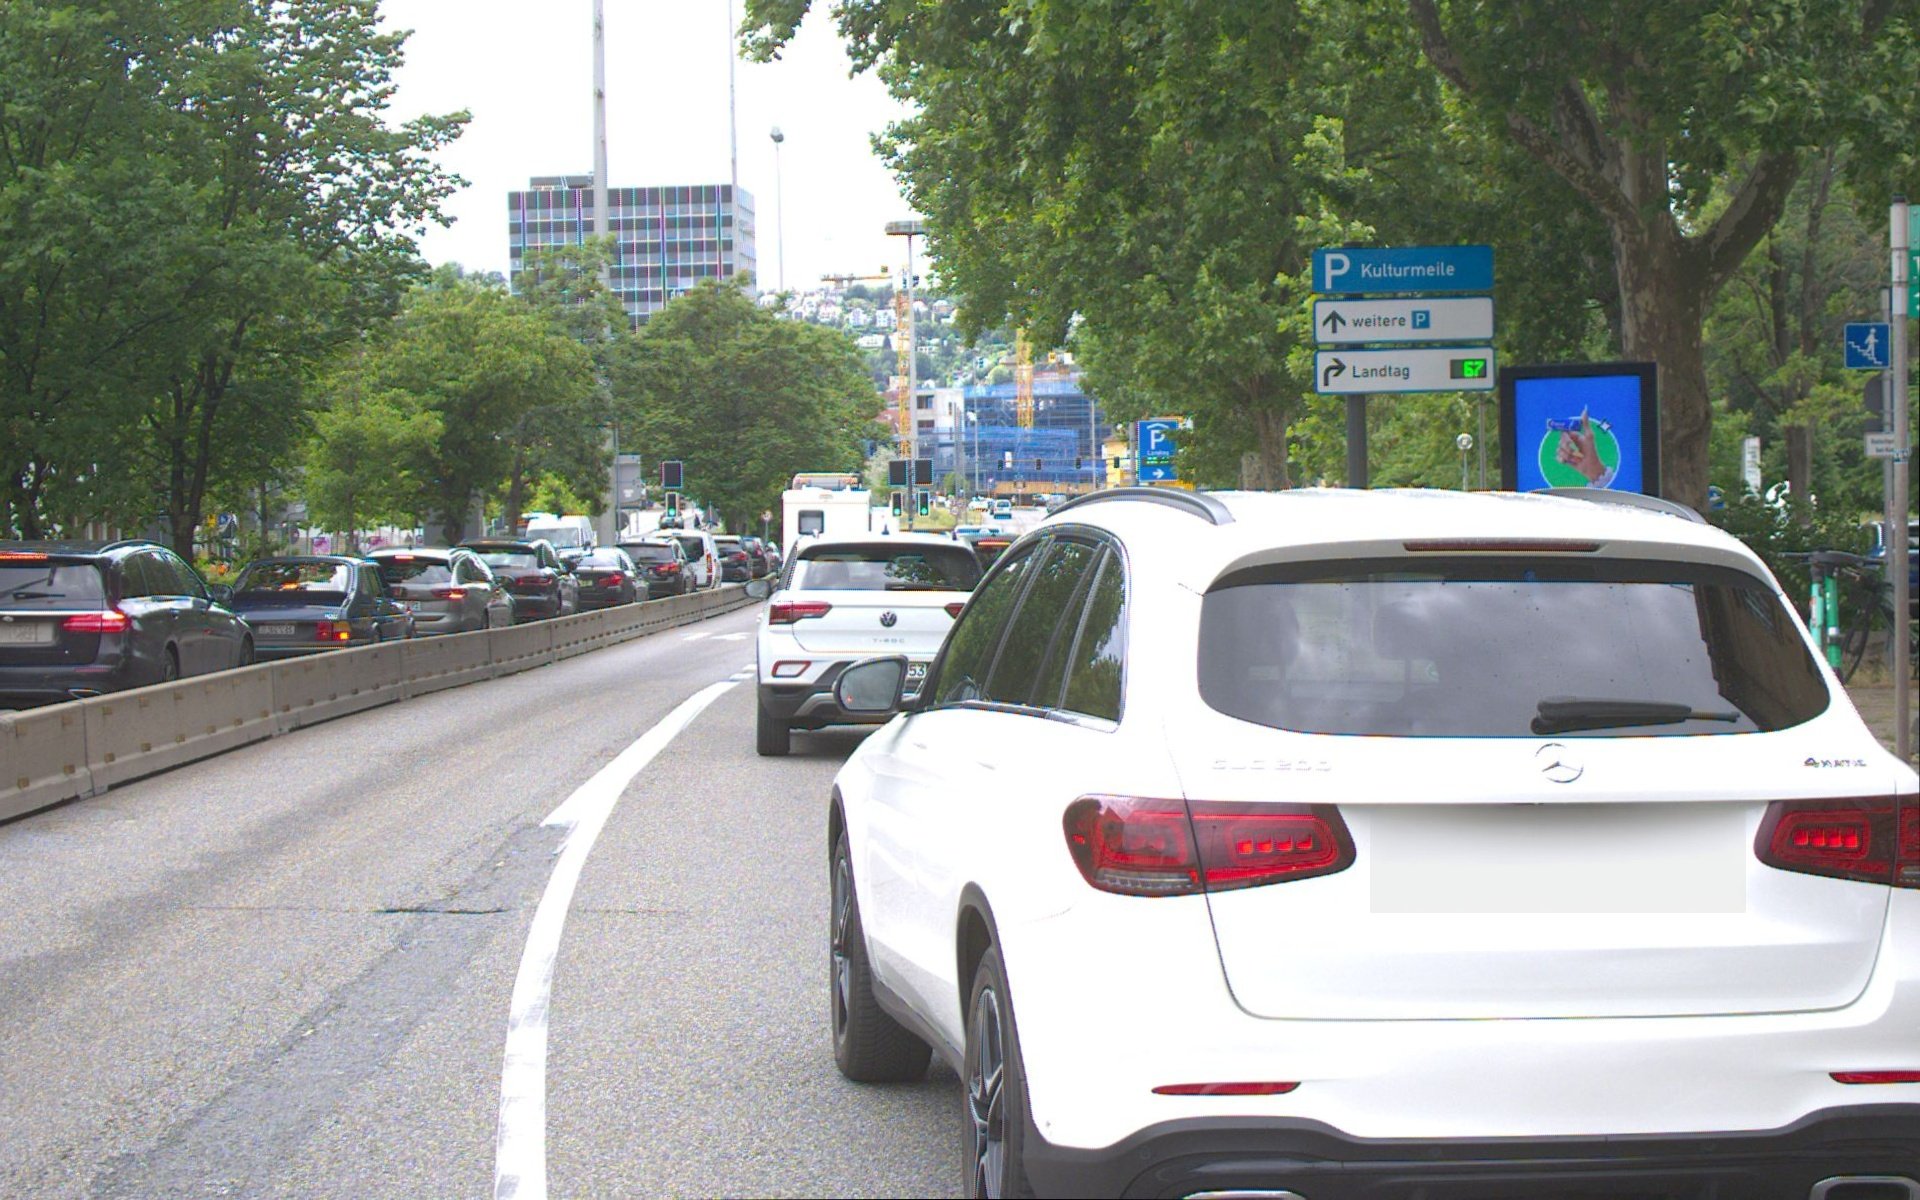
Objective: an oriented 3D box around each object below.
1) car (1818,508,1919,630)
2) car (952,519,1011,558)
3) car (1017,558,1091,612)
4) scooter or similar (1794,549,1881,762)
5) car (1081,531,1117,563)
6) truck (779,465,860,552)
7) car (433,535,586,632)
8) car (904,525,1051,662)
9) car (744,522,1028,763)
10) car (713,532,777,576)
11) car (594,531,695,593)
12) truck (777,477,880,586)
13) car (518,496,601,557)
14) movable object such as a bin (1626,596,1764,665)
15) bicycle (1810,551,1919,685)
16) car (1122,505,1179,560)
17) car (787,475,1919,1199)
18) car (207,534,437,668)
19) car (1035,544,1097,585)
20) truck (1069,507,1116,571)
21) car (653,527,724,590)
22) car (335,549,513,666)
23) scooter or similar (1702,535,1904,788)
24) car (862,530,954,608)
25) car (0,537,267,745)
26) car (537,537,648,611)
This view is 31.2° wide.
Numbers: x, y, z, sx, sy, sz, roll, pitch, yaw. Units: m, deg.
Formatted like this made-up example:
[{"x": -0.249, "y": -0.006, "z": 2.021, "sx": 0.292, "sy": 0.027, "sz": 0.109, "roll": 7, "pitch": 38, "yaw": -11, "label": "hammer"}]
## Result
[{"x": 13.191, "y": -0.460, "z": 47.455, "sx": 1.760, "sy": 1.546, "sz": 4.027, "roll": -1, "pitch": 2, "yaw": 1, "label": "car"}, {"x": 0.758, "y": -2.124, "z": 118.788, "sx": 1.947, "sy": 1.315, "sz": 4.016, "roll": 0, "pitch": 1, "yaw": 1, "label": "car"}, {"x": 2.519, "y": -0.412, "z": 92.575, "sx": 1.947, "sy": 1.423, "sz": 4.016, "roll": 0, "pitch": 1, "yaw": 1, "label": "car"}, {"x": 5.449, "y": 0.328, "z": 21.386, "sx": 0.431, "sy": 1.276, "sz": 1.433, "roll": 1, "pitch": 1, "yaw": 11, "label": "scooter or similar"}, {"x": 7.263, "y": -2.775, "z": 179.623, "sx": 1.758, "sy": 1.663, "sz": 4.168, "roll": -1, "pitch": 1, "yaw": 1, "label": "car"}, {"x": -5.041, "y": -3.264, "z": 124.376, "sx": 2.691, "sy": 2.981, "sz": 5.638, "roll": 1, "pitch": 0, "yaw": -1, "label": "truck"}, {"x": -6.858, "y": -0.267, "z": 52.684, "sx": 1.776, "sy": 1.415, "sz": 4.000, "roll": -1, "pitch": 1, "yaw": 1, "label": "car"}, {"x": 0.177, "y": -0.097, "z": 42.771, "sx": 1.659, "sy": 1.633, "sz": 3.548, "roll": 0, "pitch": 1, "yaw": -2, "label": "car"}, {"x": -0.608, "y": 0.260, "z": 24.758, "sx": 1.795, "sy": 1.603, "sz": 3.755, "roll": 0, "pitch": 1, "yaw": -5, "label": "car"}, {"x": -6.630, "y": -1.416, "z": 106.185, "sx": 1.659, "sy": 1.315, "sz": 3.547, "roll": 0, "pitch": 1, "yaw": 1, "label": "car"}, {"x": -6.785, "y": -0.820, "z": 74.135, "sx": 1.659, "sy": 1.315, "sz": 3.547, "roll": 0, "pitch": 1, "yaw": 3, "label": "car"}, {"x": -3.560, "y": -1.884, "z": 94.650, "sx": 2.621, "sy": 2.851, "sz": 7.079, "roll": 1, "pitch": 1, "yaw": -1, "label": "truck"}, {"x": -13.510, "y": -2.486, "z": 116.341, "sx": 2.115, "sy": 1.962, "sz": 5.578, "roll": -1, "pitch": 1, "yaw": 0, "label": "car"}, {"x": 7.371, "y": 0.302, "z": 34.538, "sx": 1.299, "sy": 0.650, "sz": 0.728, "roll": 1, "pitch": 0, "yaw": 9, "label": "movable object such as a bin"}, {"x": 8.814, "y": 0.161, "z": 31.806, "sx": 1.785, "sy": 1.216, "sz": 0.492, "roll": 0, "pitch": 1, "yaw": 3, "label": "bicycle"}, {"x": 7.108, "y": -2.513, "z": 128.270, "sx": 1.993, "sy": 2.007, "sz": 4.000, "roll": 0, "pitch": 1, "yaw": 1, "label": "car"}, {"x": 0.722, "y": 0.576, "z": 7.975, "sx": 1.787, "sy": 1.619, "sz": 4.438, "roll": 0, "pitch": 1, "yaw": -9, "label": "car"}, {"x": -6.929, "y": -0.031, "z": 37.766, "sx": 1.678, "sy": 1.362, "sz": 4.543, "roll": -1, "pitch": 1, "yaw": 0, "label": "car"}, {"x": 3.416, "y": -1.150, "z": 111.401, "sx": 1.947, "sy": 1.315, "sz": 4.016, "roll": 0, "pitch": 1, "yaw": 1, "label": "car"}, {"x": 8.643, "y": -4.002, "z": 225.243, "sx": 2.877, "sy": 4.089, "sz": 6.638, "roll": 1, "pitch": 1, "yaw": 1, "label": "truck"}, {"x": -6.774, "y": -1.015, "z": 86.015, "sx": 1.659, "sy": 1.508, "sz": 3.548, "roll": -1, "pitch": 0, "yaw": -3, "label": "car"}, {"x": -6.797, "y": 0.071, "z": 43.931, "sx": 1.661, "sy": 1.431, "sz": 3.960, "roll": 0, "pitch": 0, "yaw": 0, "label": "car"}, {"x": 4.599, "y": 0.318, "z": 18.840, "sx": 0.725, "sy": 1.327, "sz": 1.414, "roll": 1, "pitch": 1, "yaw": -1, "label": "scooter or similar"}, {"x": -0.944, "y": -0.575, "z": 63.923, "sx": 1.659, "sy": 1.408, "sz": 3.547, "roll": 0, "pitch": 0, "yaw": 0, "label": "car"}, {"x": -6.915, "y": 0.265, "z": 27.365, "sx": 1.816, "sy": 1.494, "sz": 4.769, "roll": -1, "pitch": 1, "yaw": 0, "label": "car"}, {"x": -6.668, "y": -0.484, "z": 62.604, "sx": 1.659, "sy": 1.315, "sz": 3.547, "roll": 0, "pitch": 1, "yaw": 0, "label": "car"}]
